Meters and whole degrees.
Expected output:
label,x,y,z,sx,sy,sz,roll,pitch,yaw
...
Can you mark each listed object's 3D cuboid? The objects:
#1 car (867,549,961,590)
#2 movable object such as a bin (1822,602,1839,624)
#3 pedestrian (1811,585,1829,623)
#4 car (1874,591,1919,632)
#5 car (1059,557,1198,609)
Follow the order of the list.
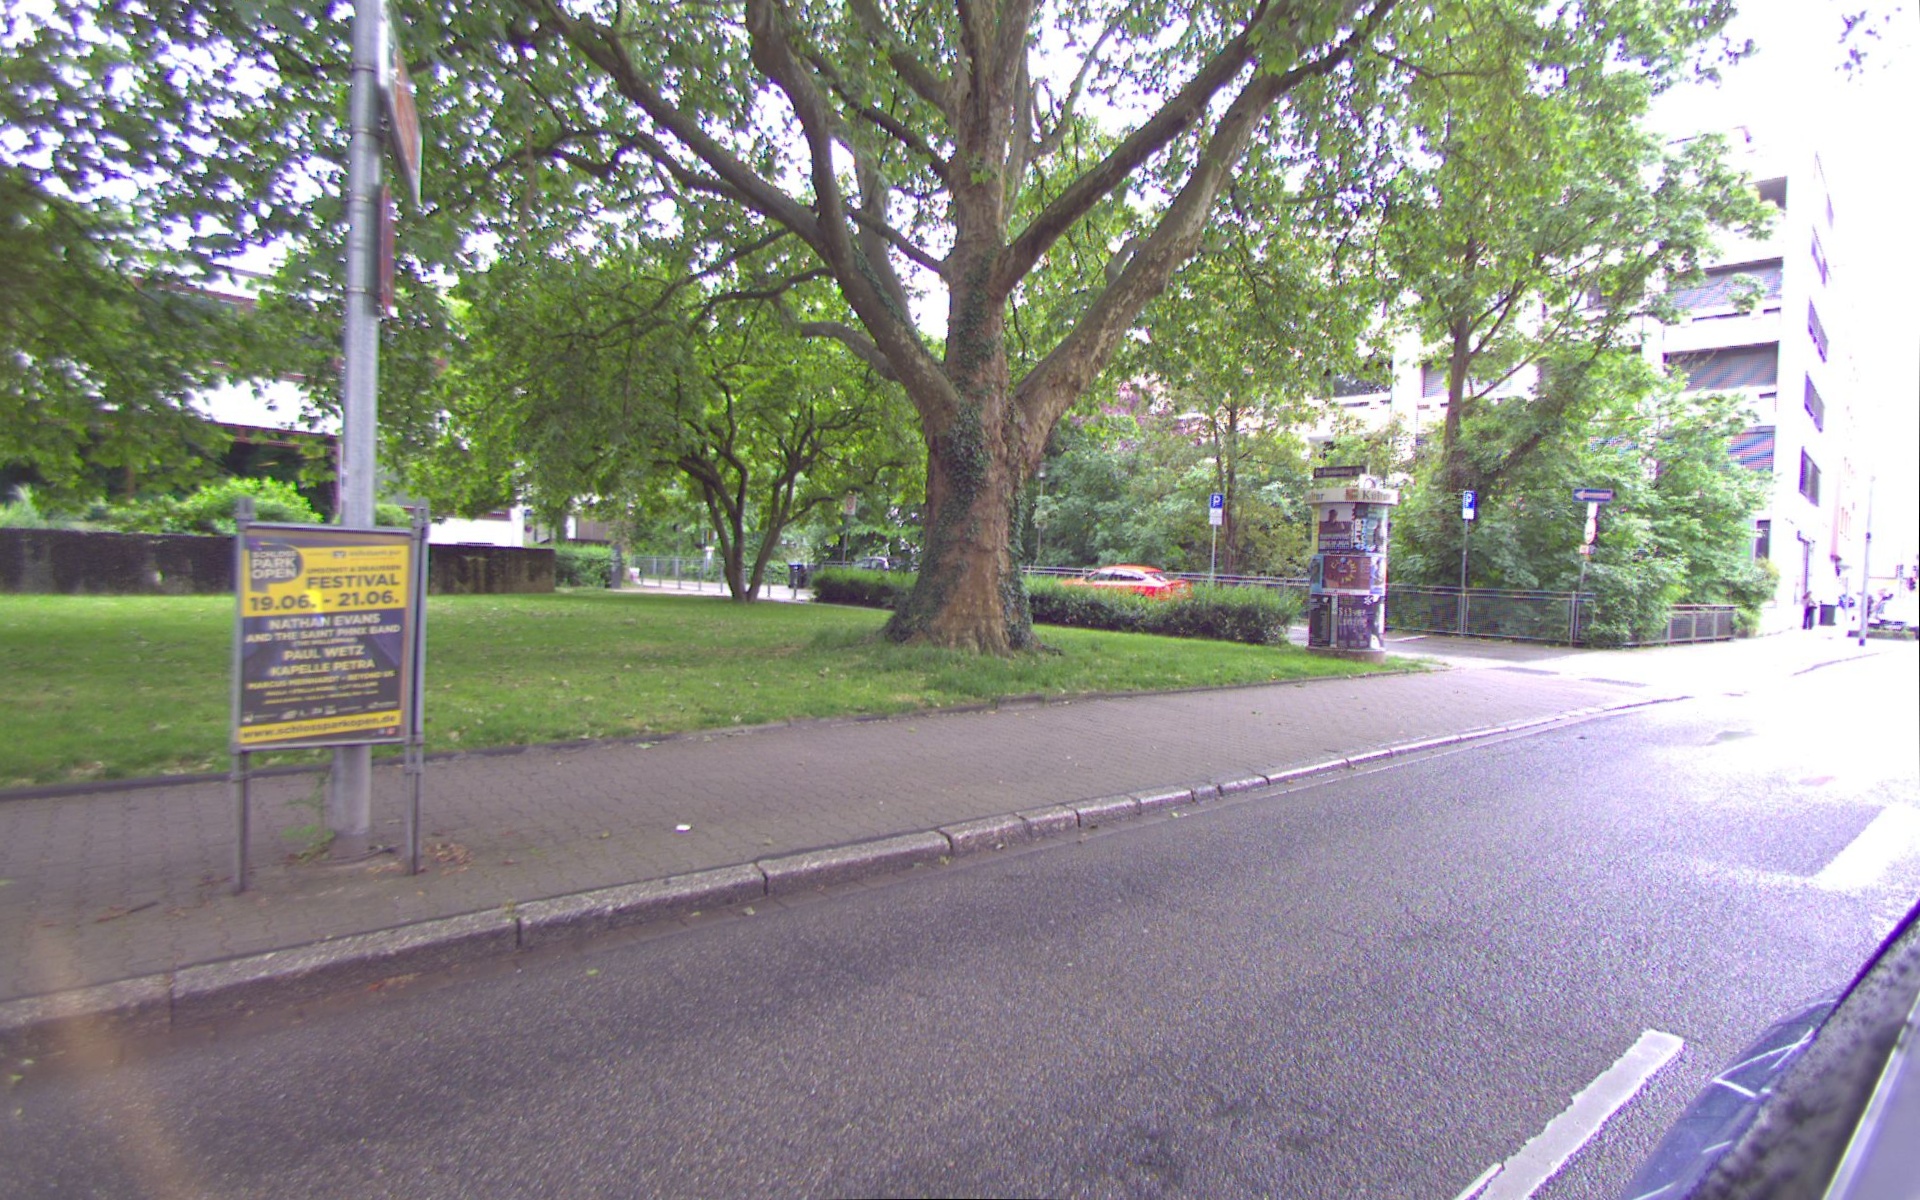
label,x,y,z,sx,sy,sz,roll,pitch,yaw
car,-1.702,-1.122,36.661,3.460,1.294,1.426,5,4,45
movable object such as a bin,41.901,0.624,48.710,0.287,1.054,0.556,0,3,-41
pedestrian,35.073,0.156,41.258,0.473,1.549,0.480,0,0,-41
car,37.395,0.459,39.737,3.617,1.449,1.681,0,6,-41
car,4.851,-0.537,29.511,1.551,1.294,3.784,-1,4,-44
